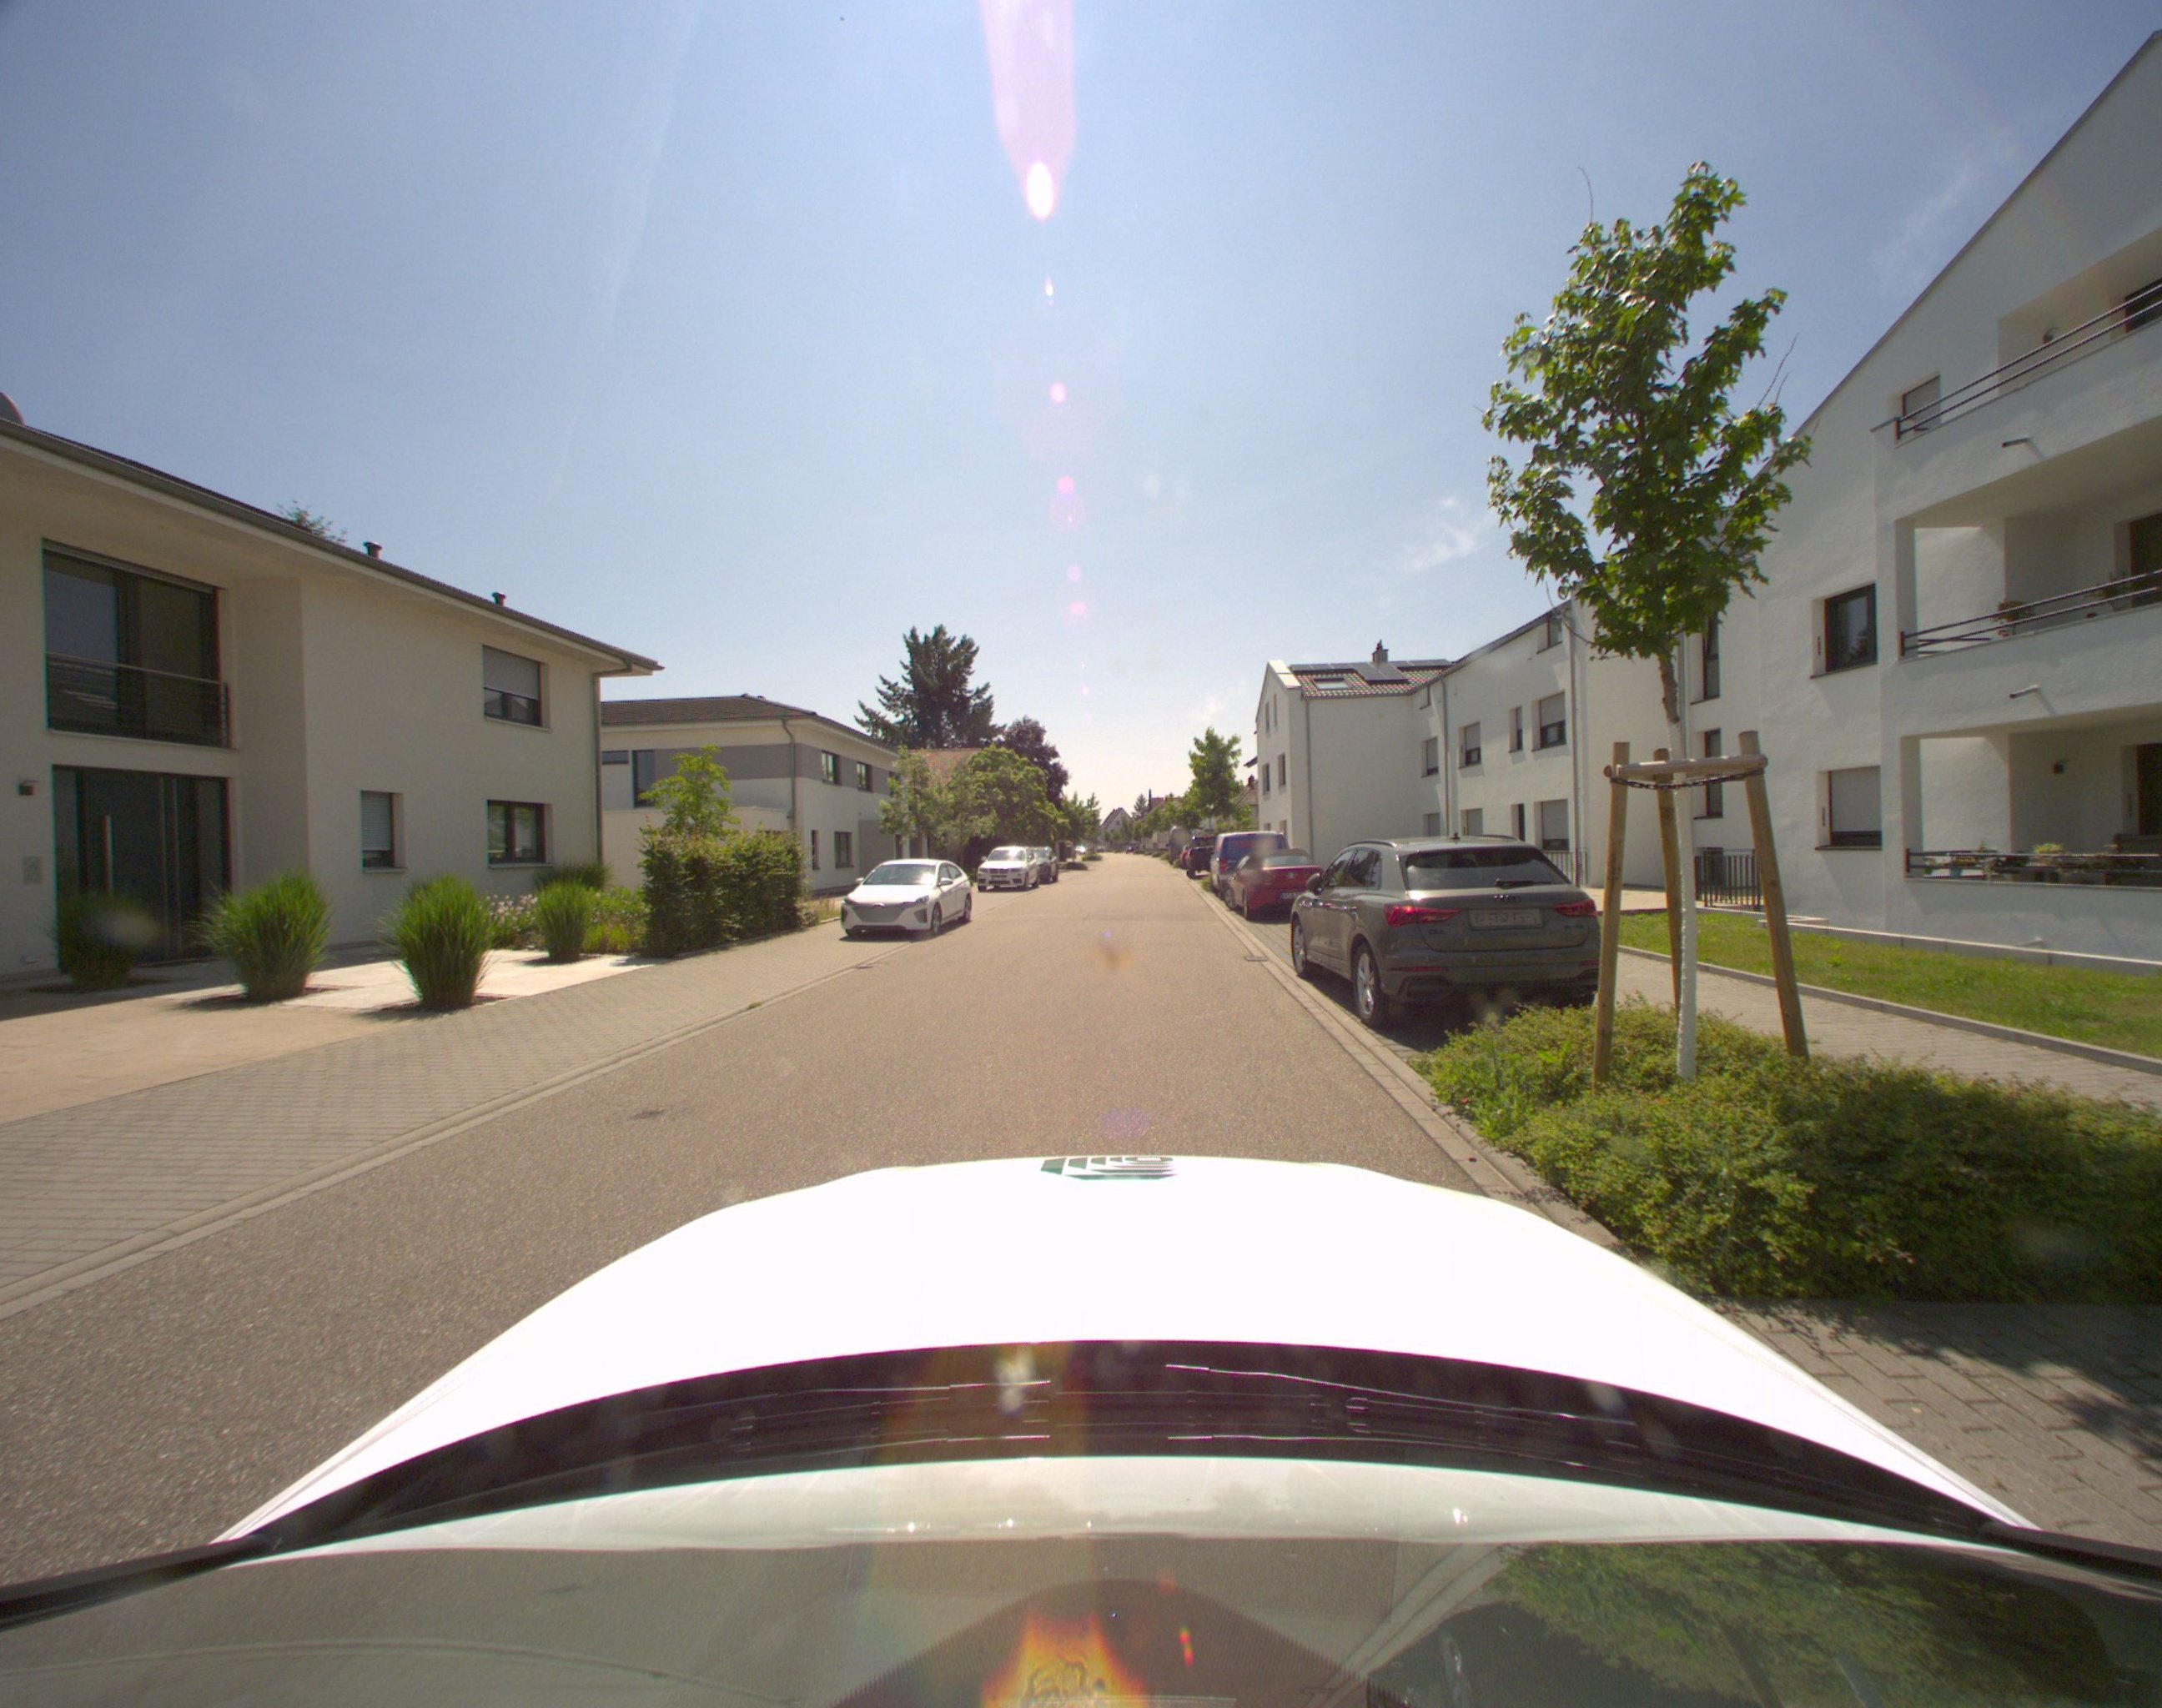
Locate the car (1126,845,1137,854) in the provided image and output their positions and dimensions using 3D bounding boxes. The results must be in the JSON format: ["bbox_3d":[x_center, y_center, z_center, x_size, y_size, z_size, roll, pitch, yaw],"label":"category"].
[{"bbox_3d":[9.895,-0.838,158.205,1.984,1.574,4.006,-2,0,5],"label":"car"}]

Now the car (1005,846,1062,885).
[{"bbox_3d":[-2.166,0.480,38.413,1.984,1.680,4.221,-2,0,5],"label":"car"}]

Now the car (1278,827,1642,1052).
[{"bbox_3d":[3.293,0.613,8.109,1.766,1.595,4.282,-2,0,3],"label":"car"}]

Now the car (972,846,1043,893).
[{"bbox_3d":[-2.802,0.541,32.040,1.918,1.687,4.505,-2,0,5],"label":"car"}]

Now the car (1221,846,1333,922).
[{"bbox_3d":[4.195,0.564,18.017,1.673,1.441,4.030,-2,0,3],"label":"car"}]

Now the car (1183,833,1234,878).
[{"bbox_3d":[6.031,0.040,39.045,1.984,1.947,5.222,-3,0,5],"label":"car"}]

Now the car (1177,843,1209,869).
[{"bbox_3d":[7.253,0.129,53.001,1.663,1.595,3.559,-2,0,3],"label":"car"}]

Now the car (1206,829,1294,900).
[{"bbox_3d":[4.977,0.274,24.609,2.089,1.882,4.851,-2,0,6],"label":"car"}]

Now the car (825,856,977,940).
[{"bbox_3d":[-3.579,0.819,17.121,1.843,1.488,4.392,0,1,5],"label":"car"}]

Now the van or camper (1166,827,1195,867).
[{"bbox_3d":[7.766,-0.567,63.654,1.984,2.941,4.006,-2,0,5],"label":"van or camper"}]

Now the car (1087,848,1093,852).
[{"bbox_3d":[2.530,-1.102,229.066,1.186,1.070,3.049,-2,0,-4],"label":"car"}]
